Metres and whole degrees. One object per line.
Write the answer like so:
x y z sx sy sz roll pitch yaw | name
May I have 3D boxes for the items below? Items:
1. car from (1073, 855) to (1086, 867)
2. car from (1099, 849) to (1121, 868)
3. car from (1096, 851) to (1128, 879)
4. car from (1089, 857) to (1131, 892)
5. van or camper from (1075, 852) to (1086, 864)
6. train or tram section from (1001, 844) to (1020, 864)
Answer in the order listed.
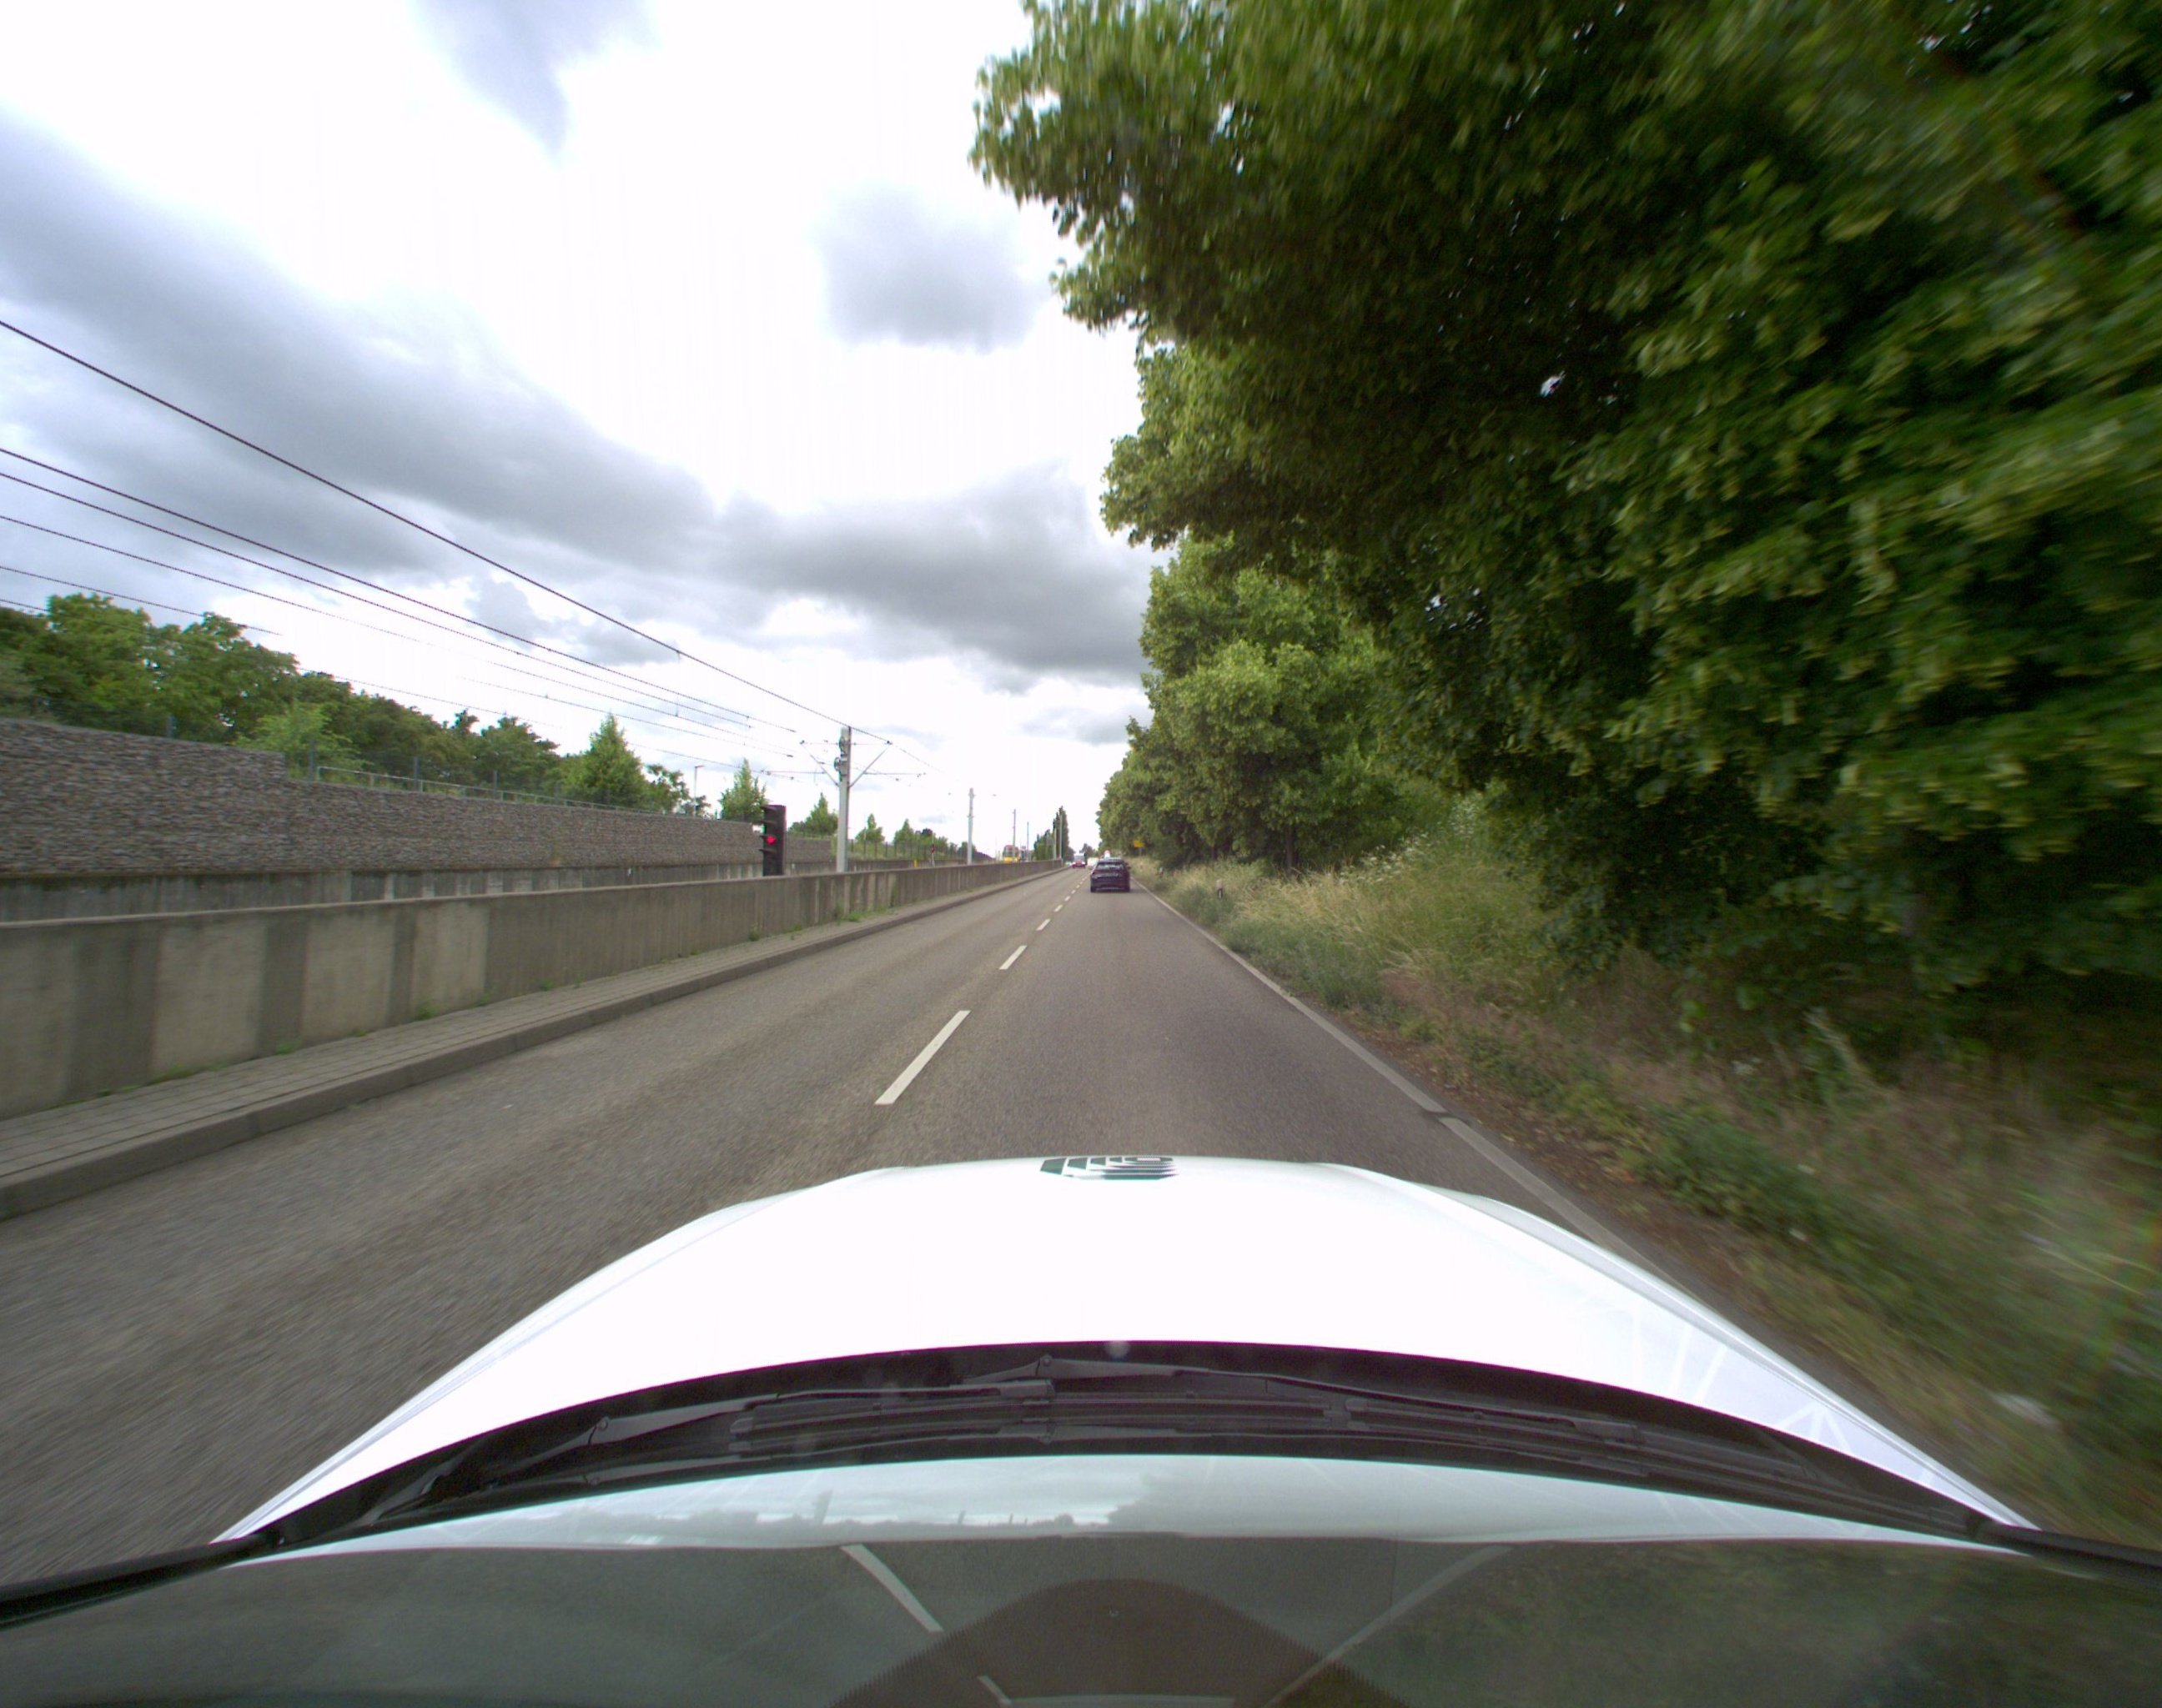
-0.155 0.990 110.202 1.657 1.545 3.953 -1 0 1 | car
2.704 0.449 76.209 1.986 1.740 4.001 -1 -1 2 | car
2.052 0.725 54.204 1.986 1.753 4.001 -1 0 2 | car
1.301 0.887 36.822 1.775 1.468 4.001 -1 0 2 | car
-0.132 0.737 162.758 2.075 2.396 6.138 -1 0 1 | van or camper
-12.715 0.066 145.611 2.808 3.117 18.869 -1 -1 -7 | train or tram section
